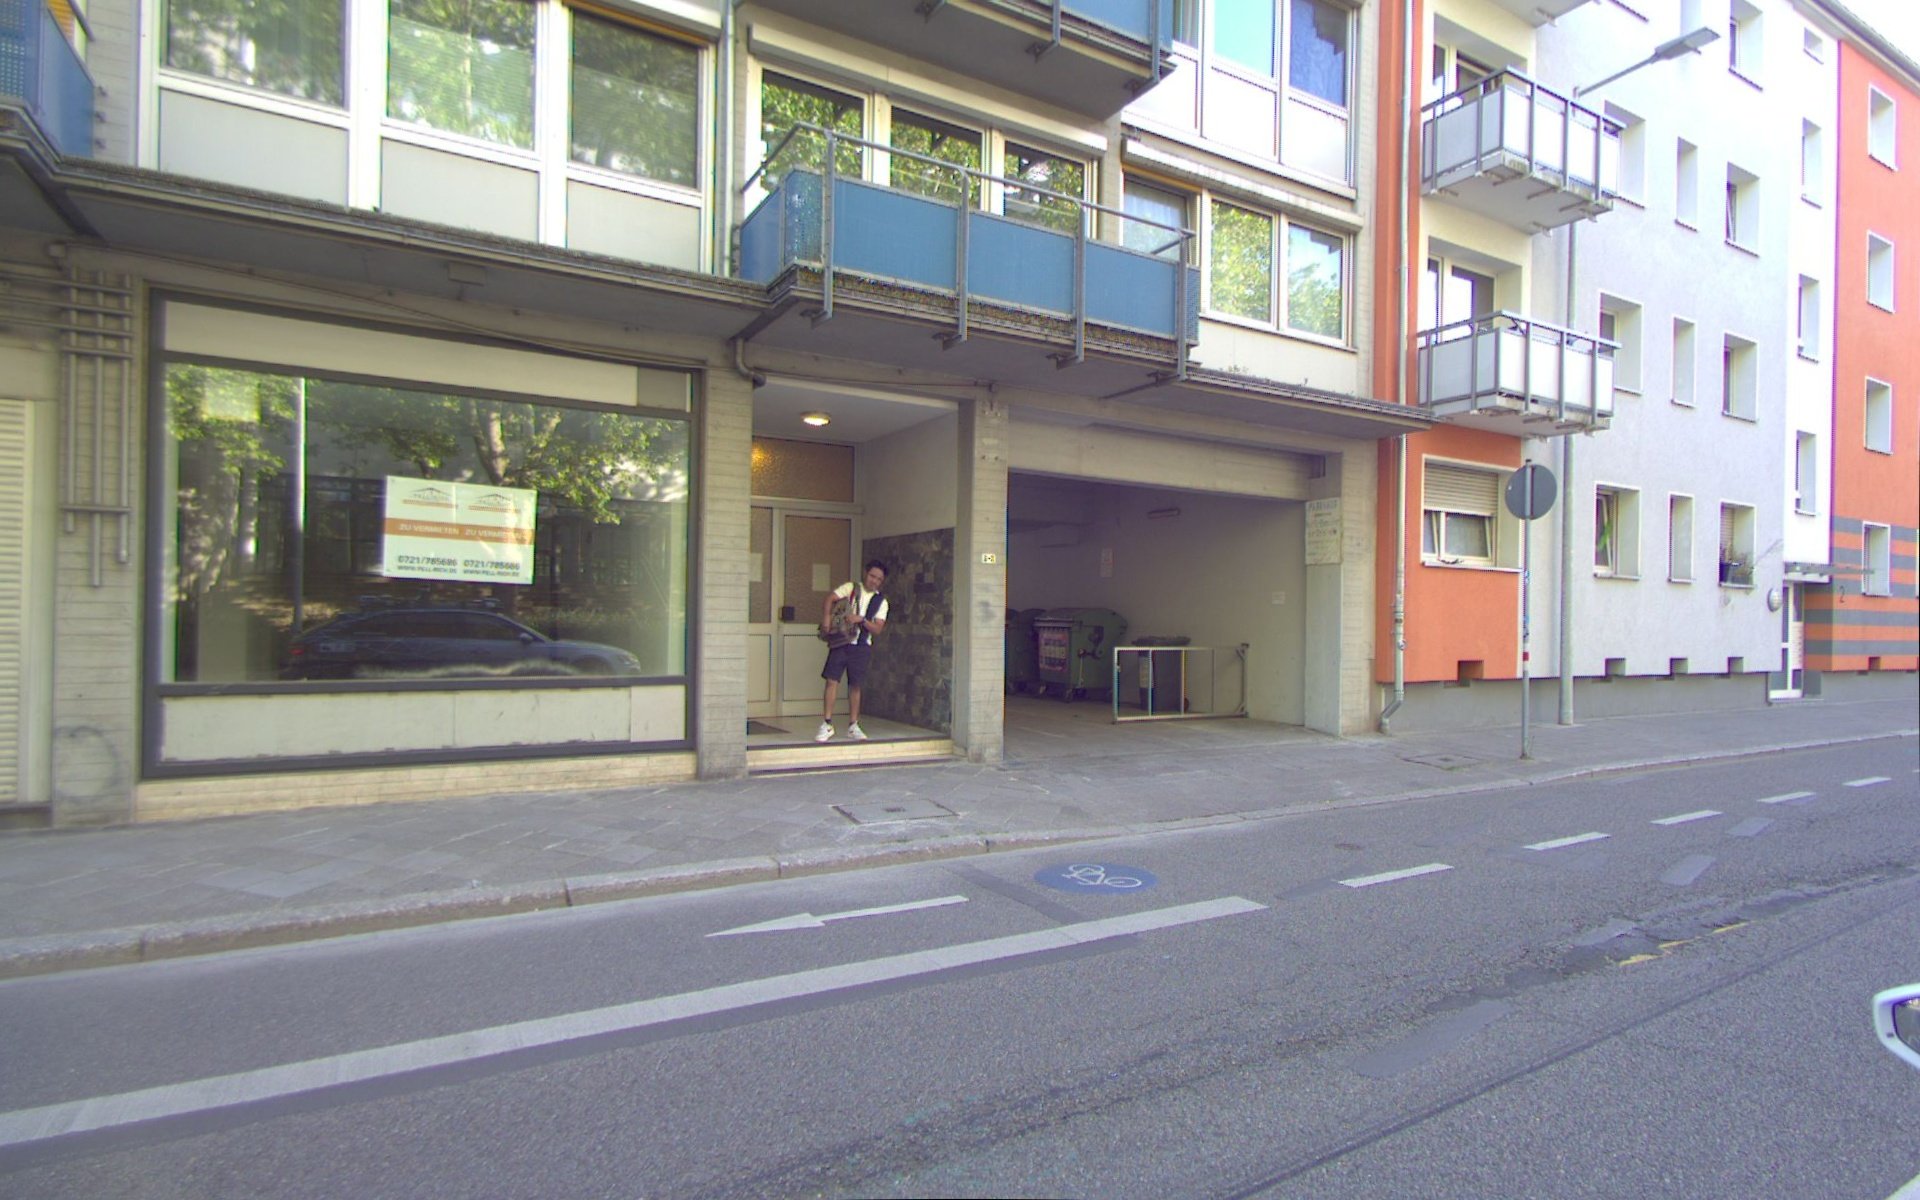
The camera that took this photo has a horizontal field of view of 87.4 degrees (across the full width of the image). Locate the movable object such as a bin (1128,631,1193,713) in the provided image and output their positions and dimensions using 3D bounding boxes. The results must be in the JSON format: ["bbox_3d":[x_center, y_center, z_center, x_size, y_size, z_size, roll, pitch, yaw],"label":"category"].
[{"bbox_3d":[2.886,1.025,14.460,0.650,1.115,0.626,2,0,-27],"label":"movable object such as a bin"}]

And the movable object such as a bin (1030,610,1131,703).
[{"bbox_3d":[1.886,0.866,15.810,1.066,1.384,1.192,2,0,-27],"label":"movable object such as a bin"}]

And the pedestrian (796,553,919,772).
[{"bbox_3d":[-0.952,0.552,9.253,0.882,1.902,0.703,2,0,-28],"label":"pedestrian"}]

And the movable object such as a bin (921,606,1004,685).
[{"bbox_3d":[0.034,0.823,18.693,1.066,1.384,1.255,2,0,-27],"label":"movable object such as a bin"}]

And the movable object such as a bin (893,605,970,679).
[{"bbox_3d":[-0.575,0.810,19.863,1.066,1.384,1.255,2,0,-27],"label":"movable object such as a bin"}]

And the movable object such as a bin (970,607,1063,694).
[{"bbox_3d":[0.944,0.844,17.125,1.066,1.384,1.255,2,0,-27],"label":"movable object such as a bin"}]
